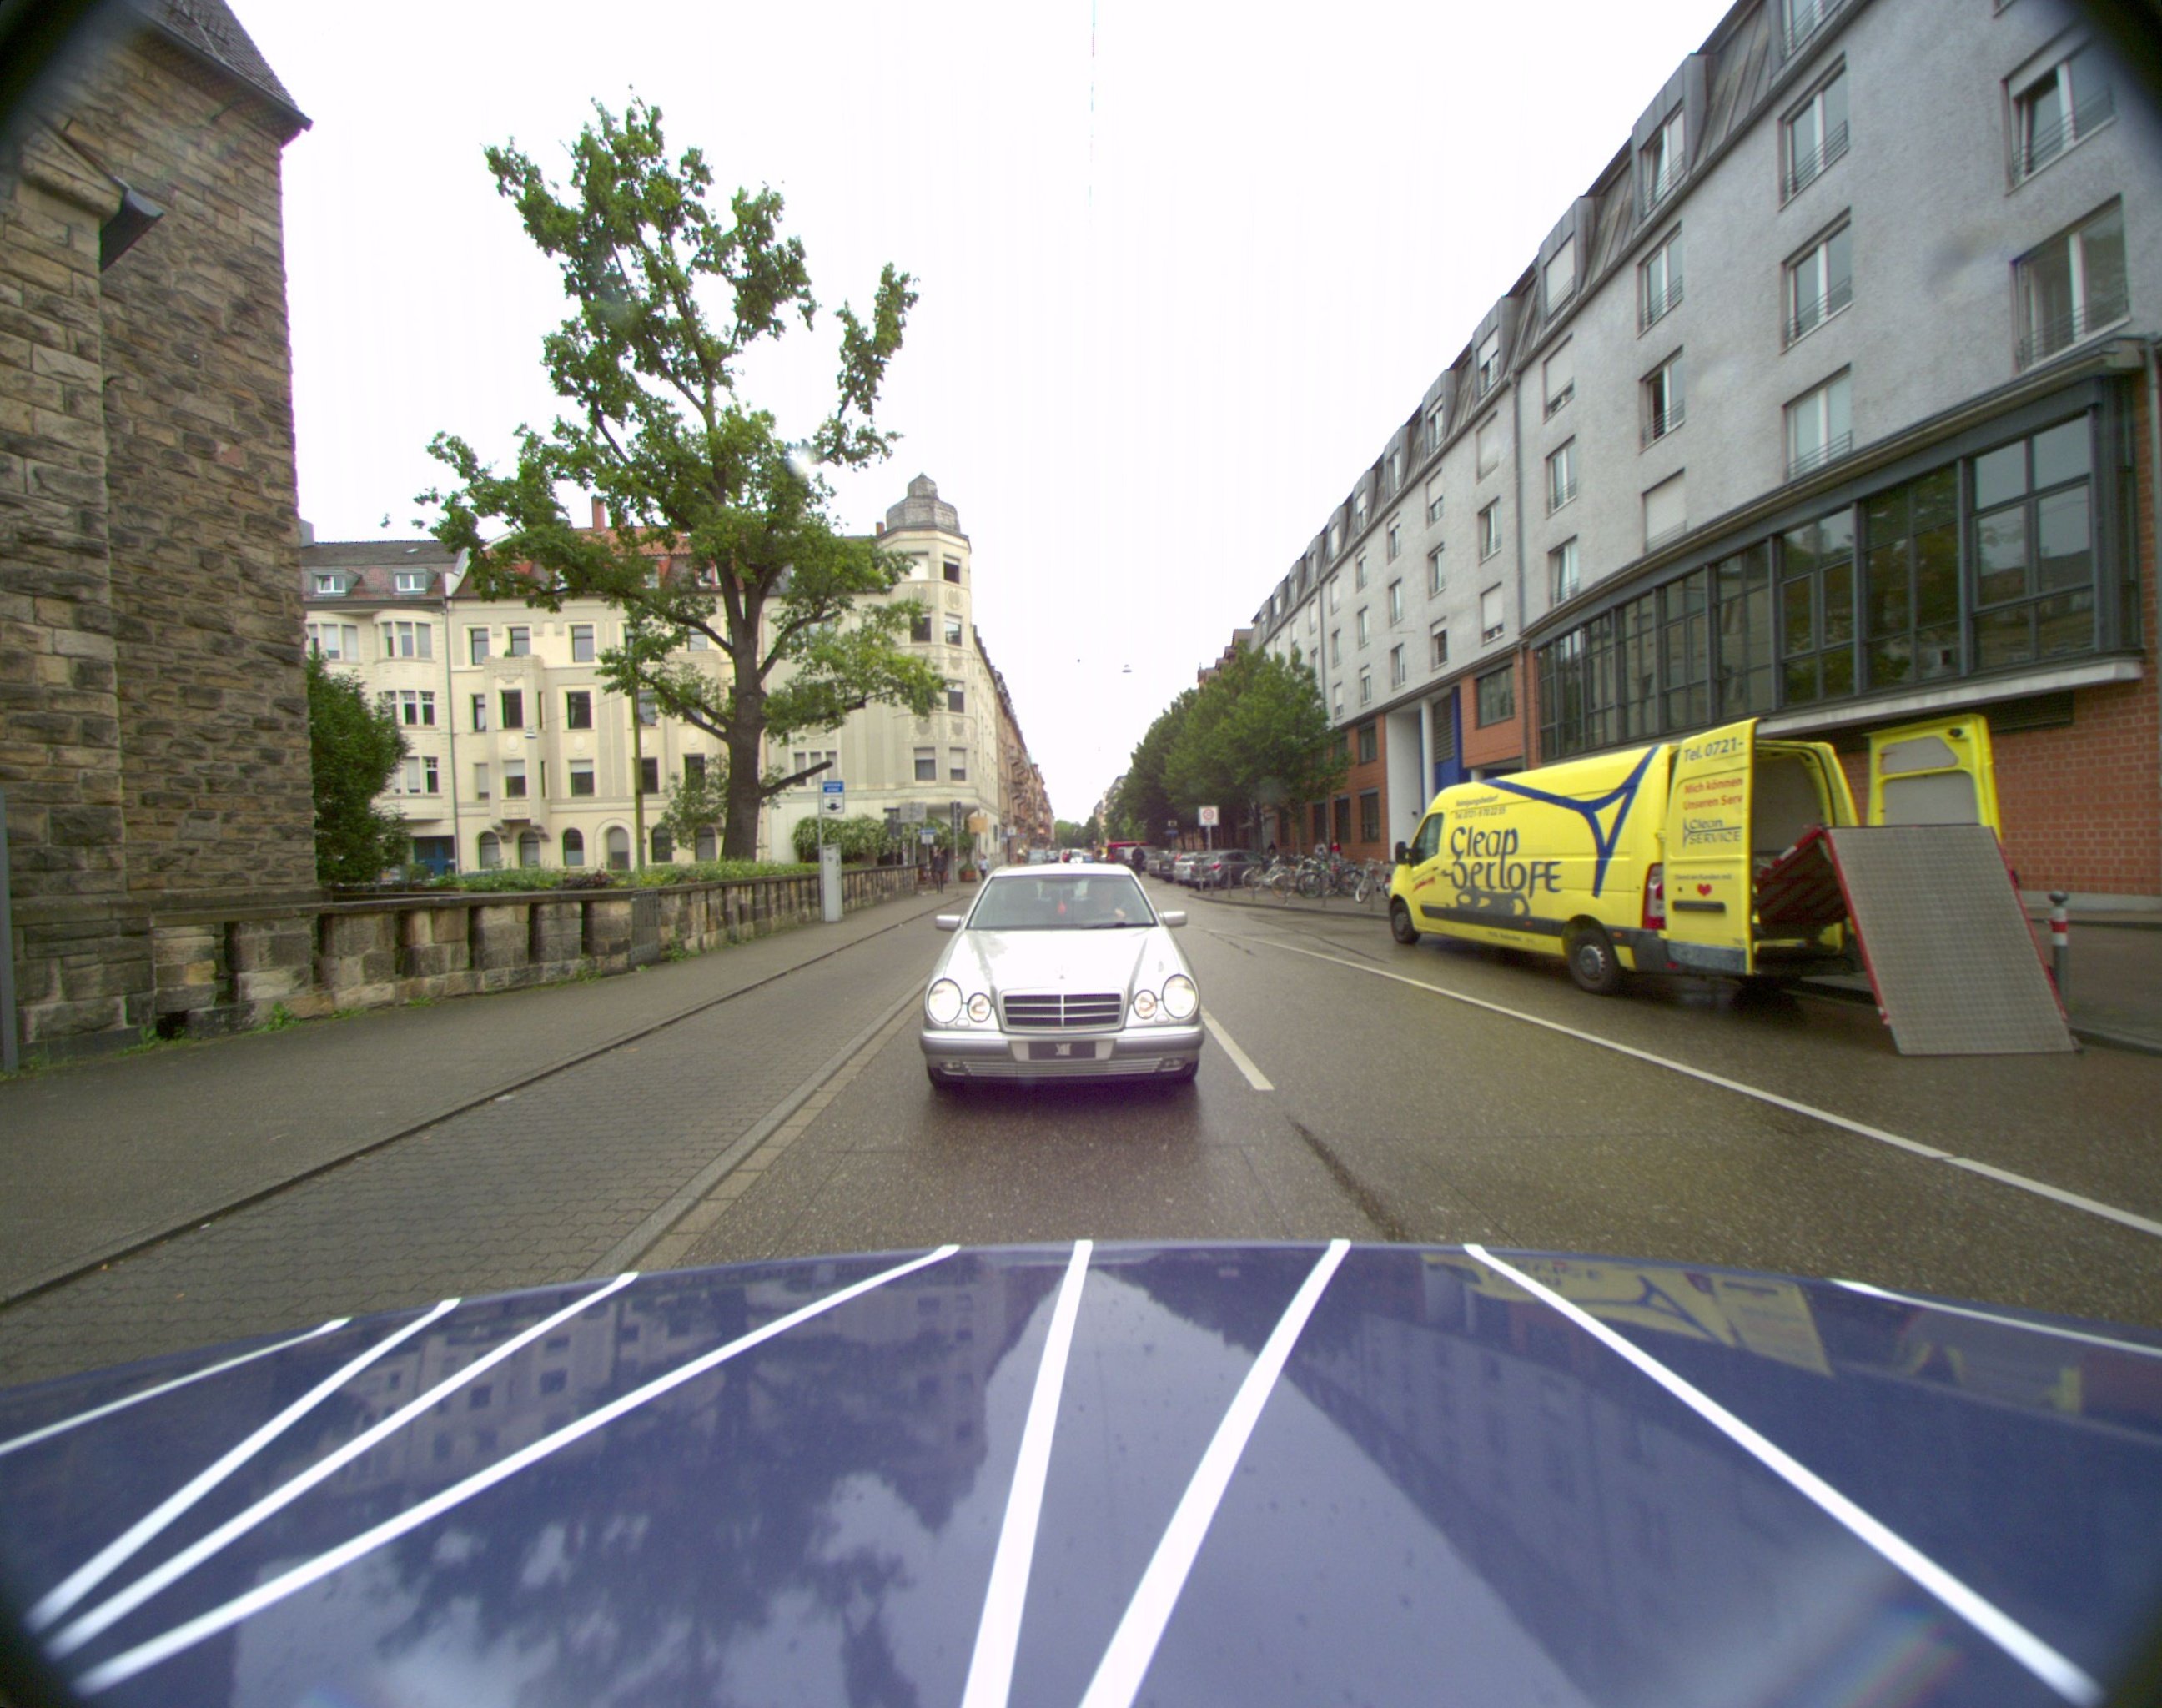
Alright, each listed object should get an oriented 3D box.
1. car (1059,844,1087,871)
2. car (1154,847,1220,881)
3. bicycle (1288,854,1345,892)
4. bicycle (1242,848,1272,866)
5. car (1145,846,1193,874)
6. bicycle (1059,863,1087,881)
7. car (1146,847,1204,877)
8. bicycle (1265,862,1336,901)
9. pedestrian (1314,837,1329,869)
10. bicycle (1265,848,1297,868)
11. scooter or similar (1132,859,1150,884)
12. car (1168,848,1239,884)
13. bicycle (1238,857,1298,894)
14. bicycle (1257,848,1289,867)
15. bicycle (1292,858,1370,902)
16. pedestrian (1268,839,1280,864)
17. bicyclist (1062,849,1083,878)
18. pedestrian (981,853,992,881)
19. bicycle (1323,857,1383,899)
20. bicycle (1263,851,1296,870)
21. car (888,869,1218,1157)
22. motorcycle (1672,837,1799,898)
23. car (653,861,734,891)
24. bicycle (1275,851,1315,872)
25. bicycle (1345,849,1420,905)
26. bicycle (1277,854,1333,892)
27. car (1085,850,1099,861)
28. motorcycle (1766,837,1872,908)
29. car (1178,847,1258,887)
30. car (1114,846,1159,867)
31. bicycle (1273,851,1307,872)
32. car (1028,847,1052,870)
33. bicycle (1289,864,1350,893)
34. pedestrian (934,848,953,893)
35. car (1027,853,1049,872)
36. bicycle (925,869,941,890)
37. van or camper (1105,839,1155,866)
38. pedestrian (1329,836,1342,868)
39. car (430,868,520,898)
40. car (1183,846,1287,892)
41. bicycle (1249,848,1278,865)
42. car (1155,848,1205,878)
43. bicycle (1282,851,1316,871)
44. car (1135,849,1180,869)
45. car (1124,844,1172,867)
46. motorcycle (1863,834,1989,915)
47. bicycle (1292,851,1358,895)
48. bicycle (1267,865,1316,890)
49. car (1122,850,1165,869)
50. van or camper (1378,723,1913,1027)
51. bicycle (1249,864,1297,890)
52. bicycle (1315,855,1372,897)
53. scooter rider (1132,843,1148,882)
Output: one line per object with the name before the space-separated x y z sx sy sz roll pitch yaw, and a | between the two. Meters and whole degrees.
car | -0.590 0.266 59.733 1.998 2.002 4.000 -1 1 1
car | 5.240 0.485 37.489 3.084 1.543 1.449 -3 1 -40
bicycle | 7.375 0.582 23.808 1.611 1.099 0.519 -3 1 -13
bicycle | 10.206 0.158 44.093 1.590 0.979 0.465 -2 1 -8
car | 5.330 0.384 45.986 2.685 1.546 1.148 -3 1 -29
bicycle | -0.411 0.930 39.860 0.535 0.879 1.784 -1 1 34
car | 5.360 0.454 43.230 2.985 1.546 1.369 -3 1 -29
bicycle | 6.131 0.761 21.262 1.800 0.987 0.520 -3 1 -2
pedestrian | 12.213 -0.054 38.635 0.605 1.601 0.372 -2 1 -1
bicycle | 10.677 0.208 40.654 1.590 0.979 0.445 -2 1 -8
scooter or similar | 2.937 0.851 37.445 0.702 1.158 1.385 -1 1 -2
car | 5.601 0.530 34.605 3.084 1.494 1.449 -3 1 -40
bicycle | 6.126 0.686 24.953 1.812 1.099 0.472 -3 1 -5
bicycle | 10.560 0.190 41.819 1.590 0.979 0.465 -2 1 -8
bicycle | 6.709 0.694 20.424 1.858 1.067 0.609 -3 1 5
pedestrian | 12.369 -0.181 48.762 0.571 1.588 0.533 -2 1 1
bicyclist | -0.440 0.492 39.823 0.535 1.521 1.137 -1 1 34
pedestrian | -5.092 0.690 40.891 0.482 1.452 0.392 -1 1 -1
bicycle | 7.492 0.649 20.929 1.462 1.058 0.418 -3 1 4
bicycle | 10.467 0.336 40.034 1.590 0.979 0.445 -2 1 -8
car | -0.151 0.915 6.162 1.764 1.420 3.999 -2 0 0
motorcycle | 13.434 0.258 15.702 0.651 1.150 2.204 -3 0 -2
car | -19.278 1.075 37.889 3.270 1.401 1.448 -1 1 3
bicycle | 10.603 0.378 37.646 1.851 0.979 0.445 -2 1 -8
bicycle | 7.579 0.556 19.069 1.922 1.209 0.768 -6 3 -35
bicycle | 7.203 0.608 24.454 1.610 1.099 0.520 -3 1 -5
car | 1.391 0.187 98.199 1.651 1.301 3.311 -1 0 -3
motorcycle | 13.069 0.289 13.526 0.524 1.174 2.006 -3 1 19
car | 5.792 0.537 31.996 3.083 1.494 1.449 -3 1 -31
car | 5.187 0.214 70.682 4.338 1.822 1.571 -1 1 -41
bicycle | 10.475 0.372 38.119 1.590 0.979 0.445 -2 1 -8
car | -3.310 0.311 61.518 1.726 1.794 3.462 -1 0 0
bicycle | 7.271 0.751 23.152 1.773 0.757 0.456 -3 1 -13
pedestrian | -5.784 0.670 31.937 0.646 1.862 0.693 -1 1 0
car | -3.139 0.630 56.450 1.447 1.348 3.204 -1 0 0
bicycle | -7.313 1.236 37.683 0.390 0.888 2.023 -1 3 0
van or camper | 4.963 -0.134 76.602 4.604 2.597 1.999 -1 1 -27
pedestrian | 12.810 -0.107 38.237 0.514 1.601 0.425 -2 1 1
car | -29.725 1.418 37.330 3.270 1.401 1.448 -1 1 3
car | 5.917 0.538 29.070 3.629 1.494 1.736 -3 2 -31
bicycle | 10.791 0.129 44.989 1.590 0.979 0.465 -2 1 -8
car | 5.312 0.477 40.722 2.506 1.442 1.191 -3 1 -40
bicycle | 11.099 0.352 38.664 1.590 0.979 0.445 -2 1 -8
car | 6.128 0.409 60.423 1.685 1.482 3.799 0 1 40
car | 5.977 0.114 67.169 4.338 1.884 1.685 -1 1 -41
motorcycle | 13.278 0.284 12.006 0.524 1.174 1.760 -3 1 19
bicycle | 7.255 0.559 22.560 1.815 1.187 0.519 -3 1 -13
bicycle | 7.040 0.780 25.397 1.473 0.717 0.497 -3 1 3
car | 5.189 0.439 62.938 1.685 1.482 3.799 0 1 40
van or camper | 6.065 0.163 9.548 2.202 2.596 5.941 -1 0 -1
bicycle | 6.560 0.788 26.025 1.473 0.800 0.497 -3 1 3
bicycle | 7.473 0.627 21.704 1.461 1.096 0.462 -3 1 14
scooter rider | 2.929 0.419 37.541 0.712 1.924 0.503 -1 1 -2
